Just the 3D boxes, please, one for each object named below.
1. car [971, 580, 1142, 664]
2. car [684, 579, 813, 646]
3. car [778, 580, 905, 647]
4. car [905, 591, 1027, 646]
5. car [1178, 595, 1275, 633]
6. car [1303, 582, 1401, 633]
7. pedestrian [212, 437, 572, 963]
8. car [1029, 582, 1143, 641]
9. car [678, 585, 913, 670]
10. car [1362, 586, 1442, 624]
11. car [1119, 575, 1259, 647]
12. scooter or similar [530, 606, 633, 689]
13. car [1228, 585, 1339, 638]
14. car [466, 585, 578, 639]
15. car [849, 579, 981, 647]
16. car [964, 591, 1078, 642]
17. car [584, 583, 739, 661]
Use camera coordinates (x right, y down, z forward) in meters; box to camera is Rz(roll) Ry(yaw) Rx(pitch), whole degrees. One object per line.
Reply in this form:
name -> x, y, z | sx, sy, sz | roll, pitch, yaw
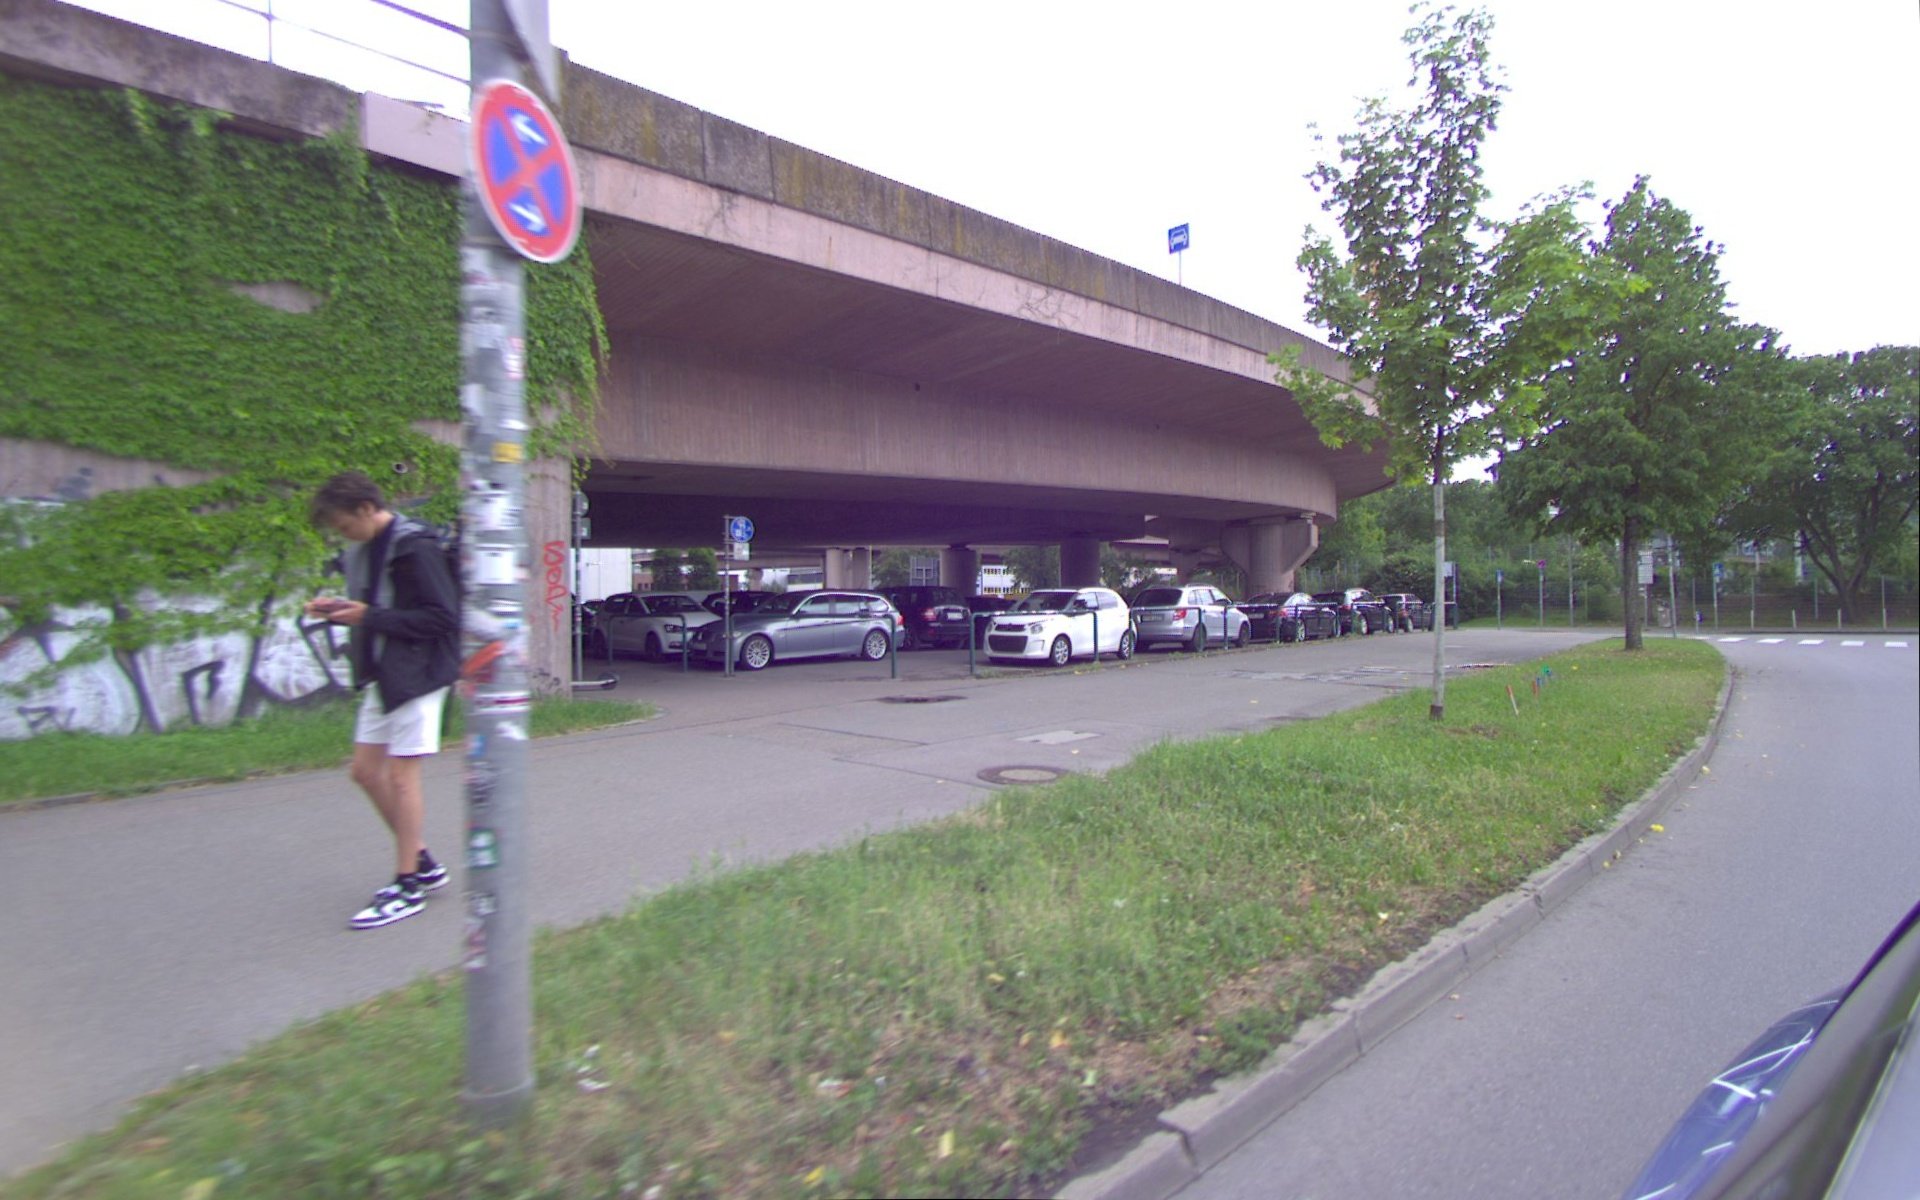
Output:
car -> 1.932, 0.361, 19.550 | 1.604, 1.463, 3.424 | -1, 0, 41
car -> -4.890, 0.292, 23.149 | 1.386, 1.428, 3.313 | 3, -2, -42
car -> -2.937, 0.341, 24.703 | 1.434, 1.531, 3.313 | 3, -2, -42
car -> 0.129, 0.491, 27.908 | 1.526, 1.416, 3.312 | 1, -1, -43
car -> 10.499, 0.527, 39.966 | 3.463, 1.401, 1.402 | 0, 1, 44
car -> 12.381, 0.228, 31.853 | 1.619, 1.392, 4.118 | -7, -4, 39
pedestrian -> -2.428, 0.348, 4.359 | 0.820, 1.903, 1.161 | 2, 1, 45
car -> 3.827, 0.354, 30.999 | 1.412, 1.709, 3.311 | 0, -1, -43
car -> -3.098, 0.447, 19.714 | 4.402, 1.403, 1.638 | -2, 2, -44
car -> 15.714, 0.181, 35.853 | 1.619, 1.254, 4.002 | -1, -1, 39
car -> 5.425, 0.253, 23.663 | 1.608, 1.550, 3.861 | -2, -2, 40
scooter or similar -> -5.489, 0.680, 14.699 | 1.362, 1.171, 0.329 | 0, -1, -9
car -> 8.998, 0.305, 27.956 | 1.620, 1.333, 3.722 | -4, -2, 40
car -> -13.776, 0.364, 31.734 | 3.981, 1.598, 1.649 | -1, -1, 40
car -> -1.191, 0.323, 25.923 | 1.640, 1.618, 3.312 | 1, -1, -43
car -> 1.742, 0.483, 29.529 | 1.329, 1.427, 3.311 | 0, -1, -43
car -> -6.418, 0.455, 21.601 | 3.605, 1.522, 1.602 | 0, -2, 44
